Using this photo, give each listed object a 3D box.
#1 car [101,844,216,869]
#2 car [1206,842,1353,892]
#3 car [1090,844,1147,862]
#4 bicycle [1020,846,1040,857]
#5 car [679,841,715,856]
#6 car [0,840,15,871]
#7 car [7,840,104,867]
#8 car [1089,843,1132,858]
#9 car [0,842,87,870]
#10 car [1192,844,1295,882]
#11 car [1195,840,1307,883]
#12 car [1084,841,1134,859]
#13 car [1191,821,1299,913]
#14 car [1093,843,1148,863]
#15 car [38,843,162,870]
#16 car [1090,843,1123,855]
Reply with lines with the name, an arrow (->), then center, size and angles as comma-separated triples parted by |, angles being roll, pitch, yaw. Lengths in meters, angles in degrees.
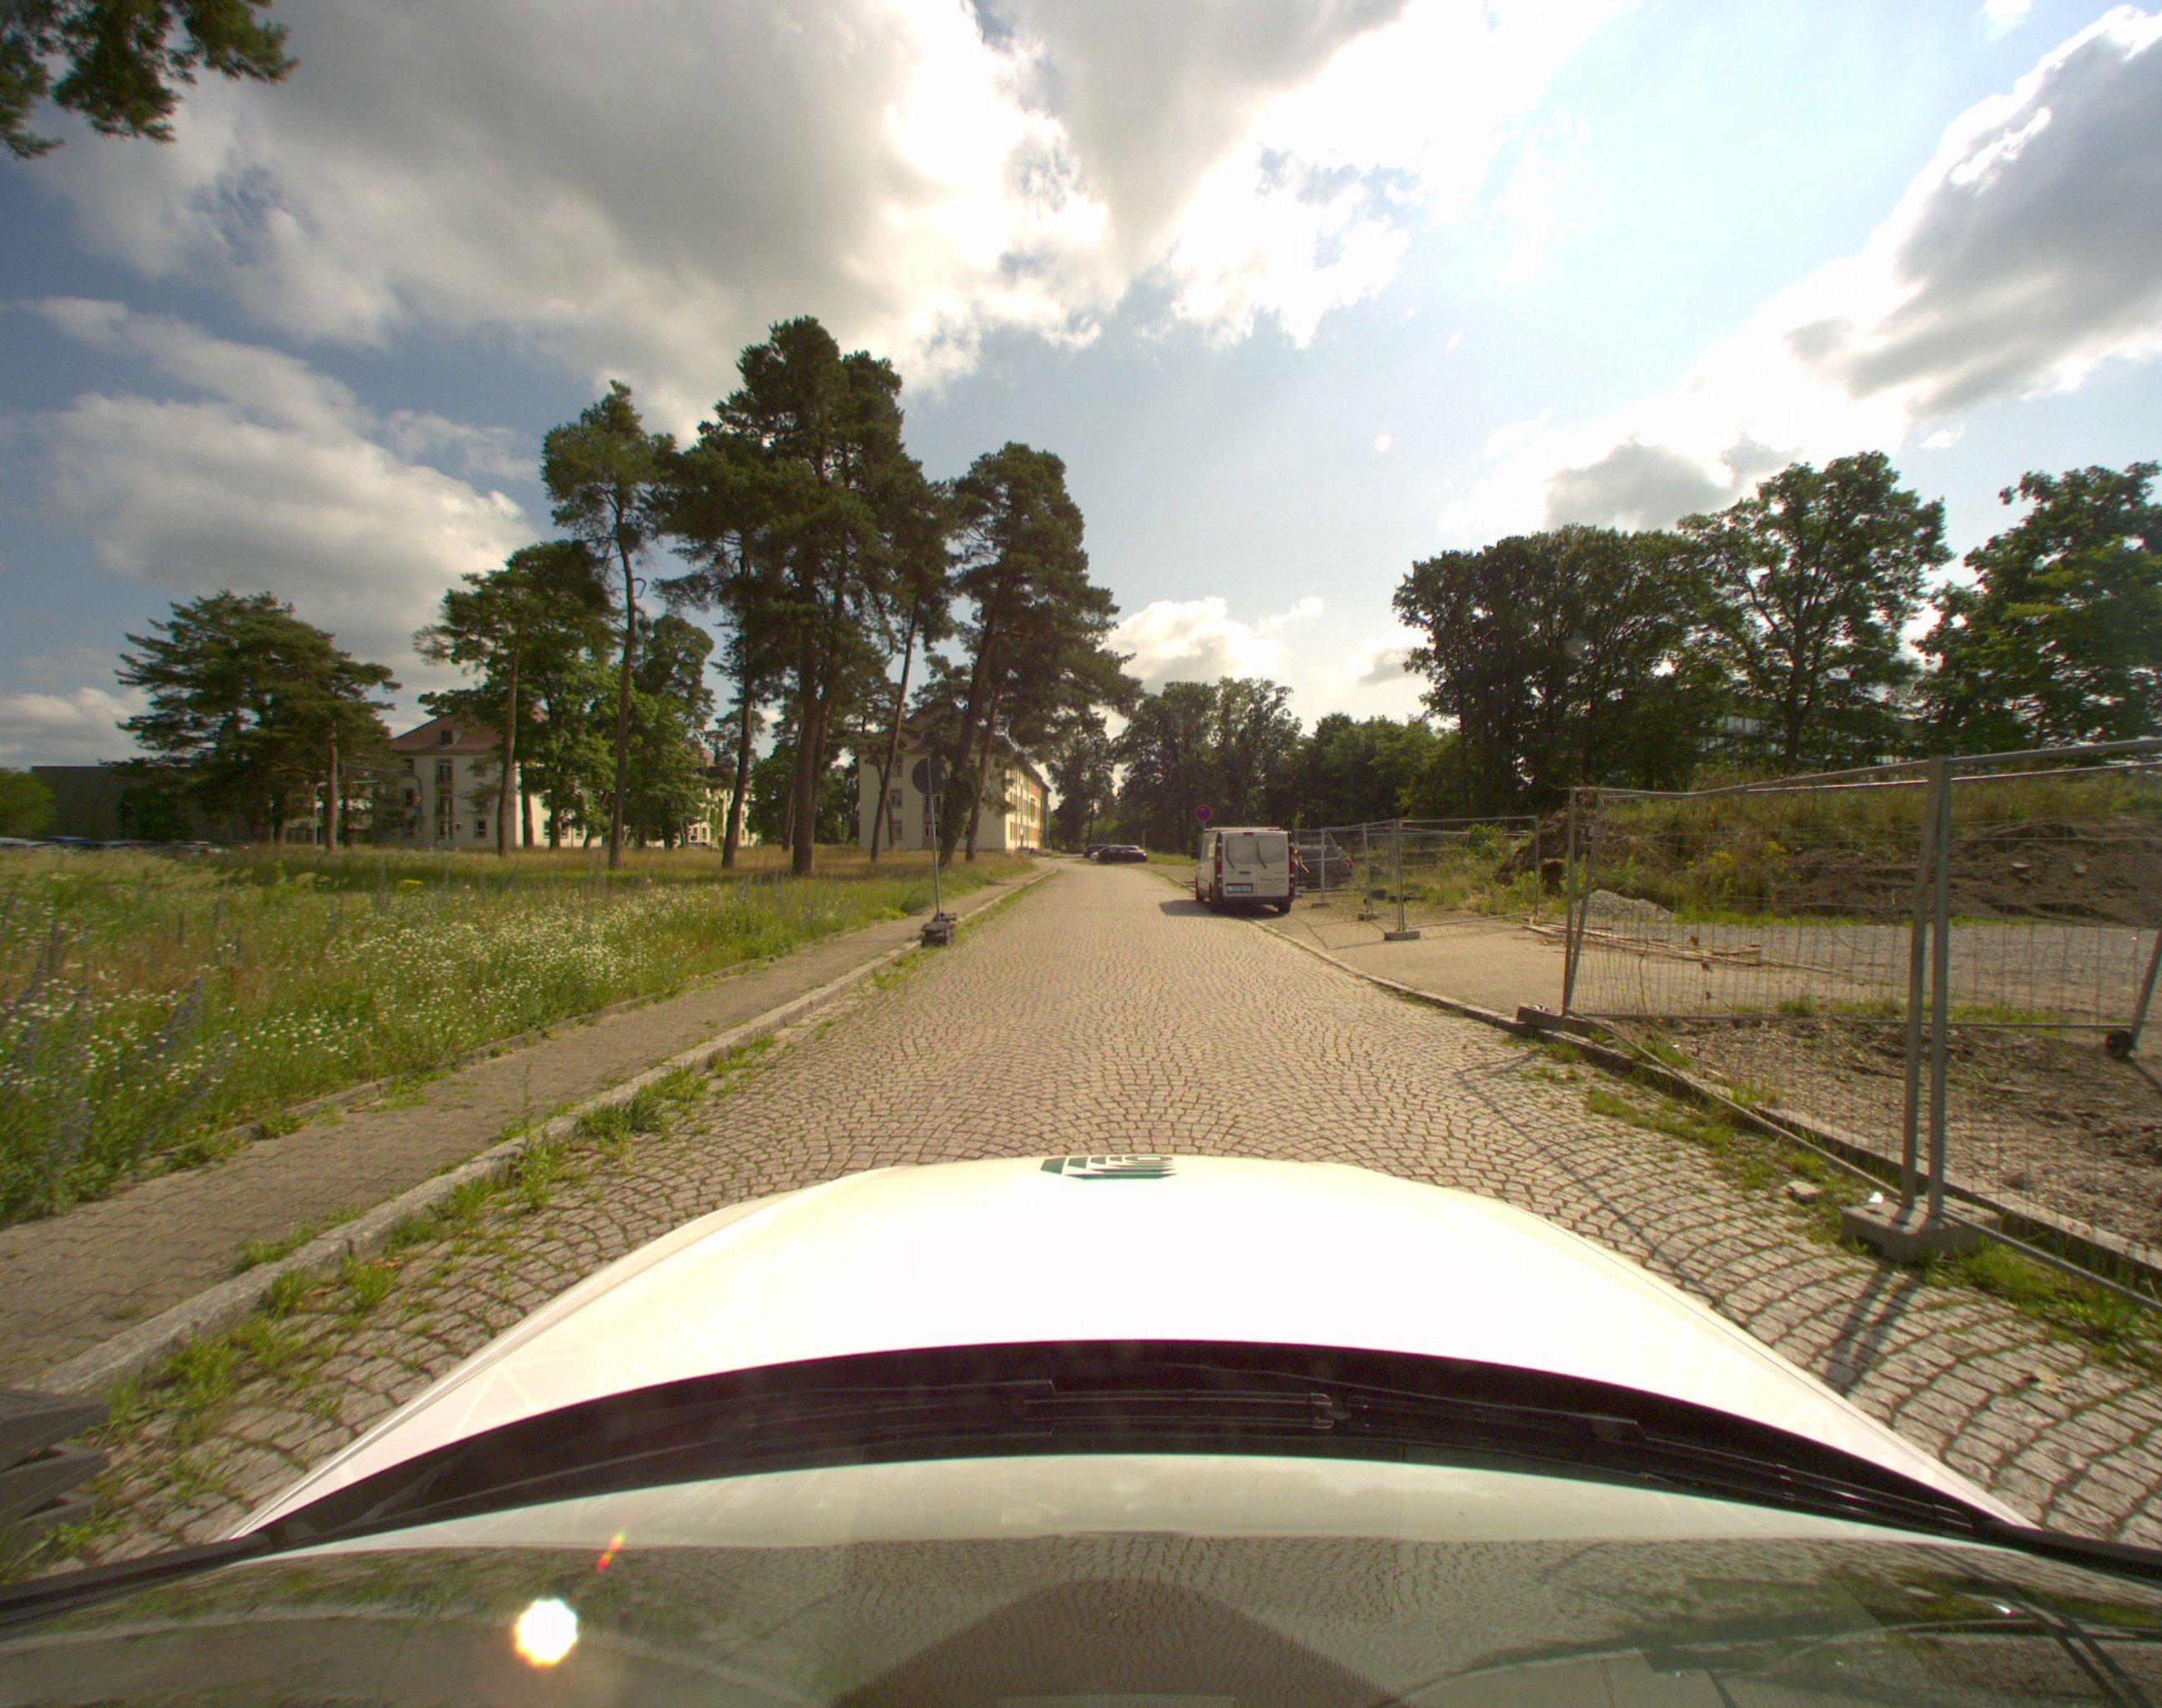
car -> -50.399, 0.137, 44.548 | 4.052, 1.309, 1.901 | -1, 0, 0
car -> 6.530, 0.404, 27.076 | 4.443, 1.475, 1.744 | -2, 0, -3
car -> 3.260, -0.094, 71.553 | 4.847, 1.472, 1.874 | -2, 1, -1
bicycle -> -6.001, -0.259, 96.166 | 2.212, 1.260, 0.623 | -1, 0, 3
car -> -53.350, -0.738, 113.149 | 4.043, 1.991, 1.714 | -1, 0, 2
car -> -61.387, 0.108, 44.380 | 4.052, 1.702, 1.901 | -1, 0, 0
car -> -69.078, -0.038, 54.882 | 4.052, 1.780, 1.901 | -1, 0, 0
car -> 3.037, -0.379, 84.475 | 4.384, 1.484, 1.765 | -2, 0, -1
car -> -51.259, 0.097, 39.356 | 4.052, 1.338, 1.901 | -1, 0, 0
car -> 6.875, 0.351, 34.702 | 4.031, 1.464, 1.703 | -2, 0, -2
car -> 6.547, 0.285, 31.640 | 3.975, 1.506, 1.746 | -2, 0, -2
car -> 2.685, -0.365, 78.913 | 4.837, 1.552, 1.879 | -2, 0, -1
car -> 4.065, 0.267, 21.109 | 1.906, 2.053, 5.683 | -1, 0, 3
car -> 3.280, -0.059, 68.343 | 4.320, 1.500, 1.826 | -2, 1, -7
car -> -50.716, 0.136, 42.169 | 4.052, 1.320, 1.901 | -1, 0, 0
car -> 3.344, -0.641, 107.044 | 4.169, 1.543, 1.821 | -2, 0, 3
